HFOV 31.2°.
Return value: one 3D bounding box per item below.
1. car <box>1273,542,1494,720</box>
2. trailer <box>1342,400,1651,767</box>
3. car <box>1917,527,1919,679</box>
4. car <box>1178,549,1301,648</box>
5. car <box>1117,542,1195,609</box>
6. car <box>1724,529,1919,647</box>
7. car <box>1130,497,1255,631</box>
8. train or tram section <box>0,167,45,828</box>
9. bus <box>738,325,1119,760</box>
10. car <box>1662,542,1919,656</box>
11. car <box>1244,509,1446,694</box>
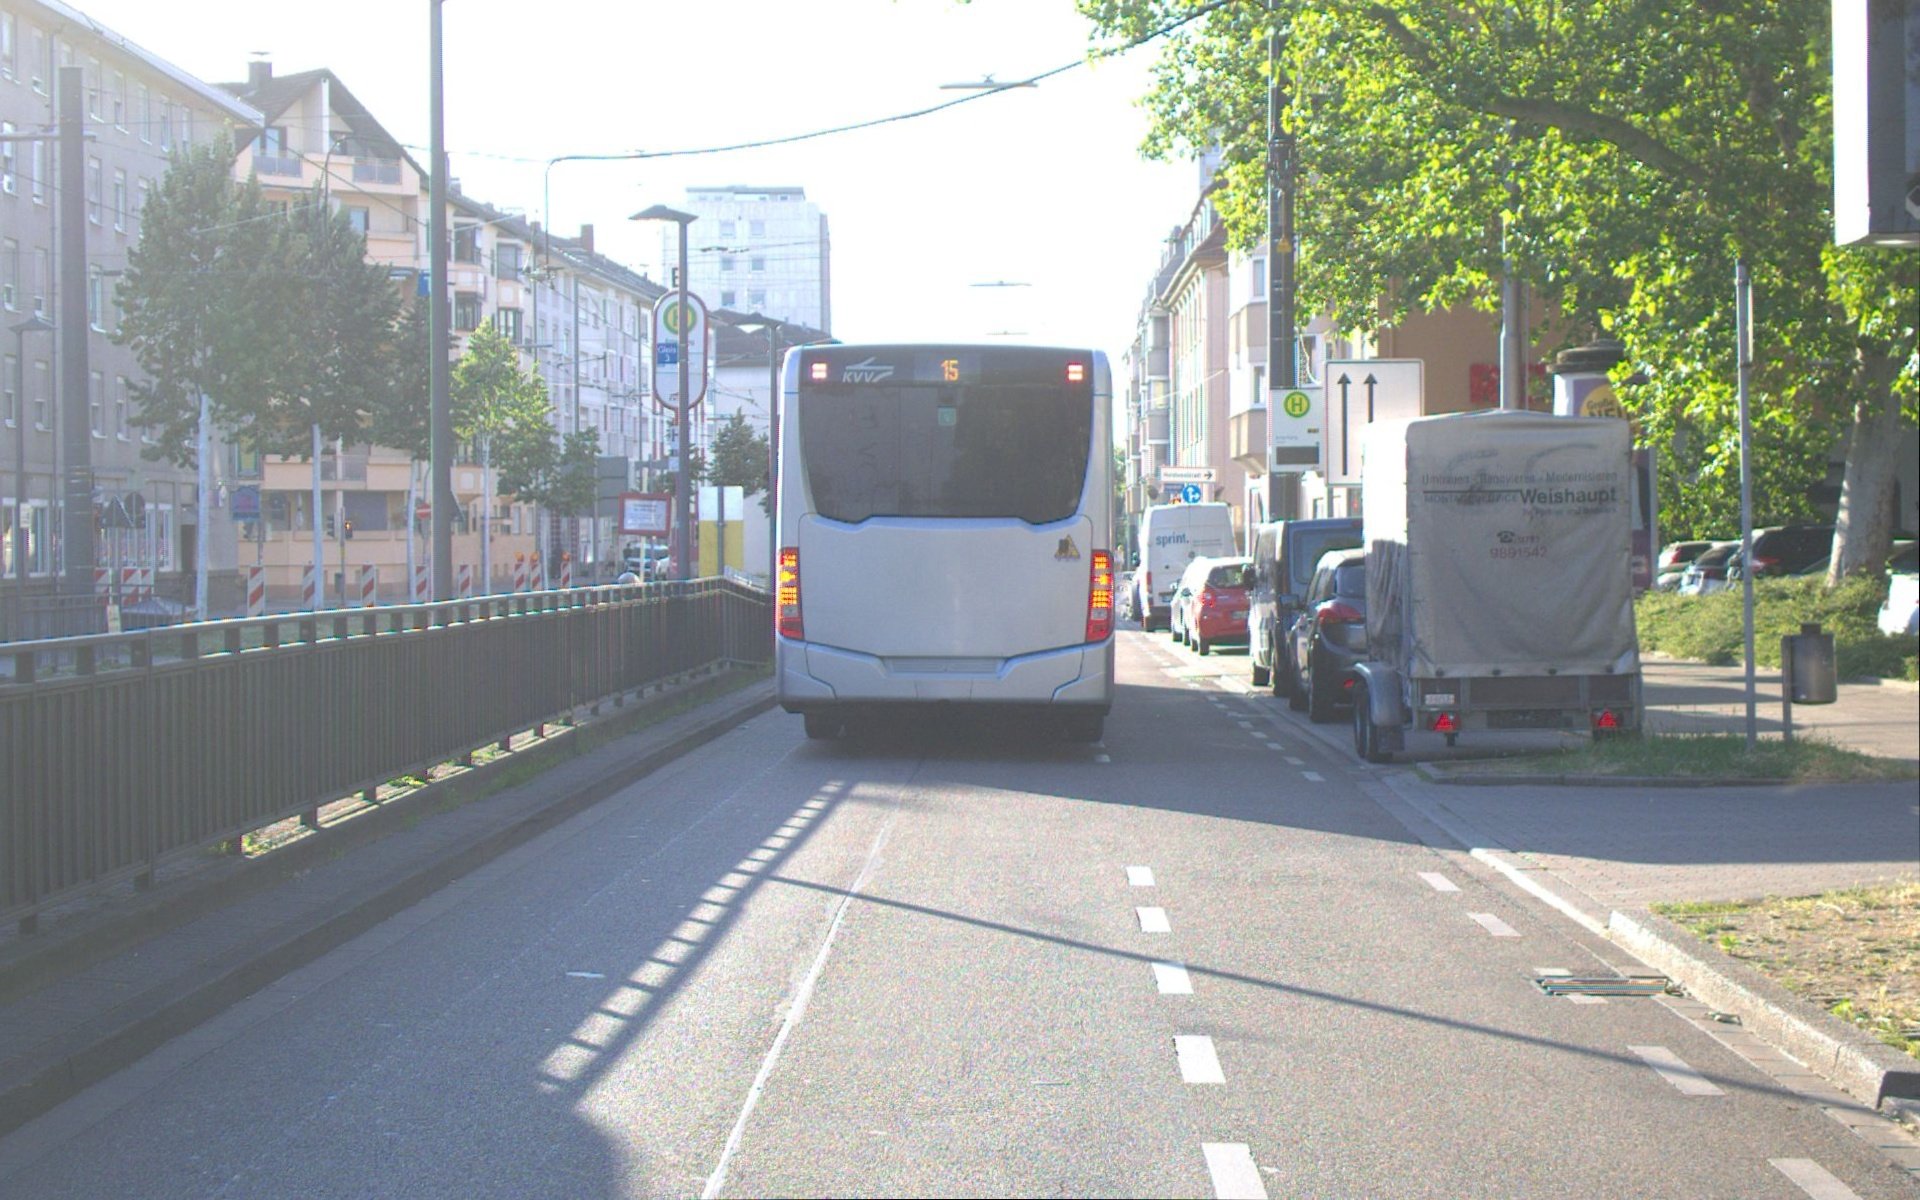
[{"bbox_3d":[3.990,0.259,32.887,1.701,1.583,3.827,-1,1,1],"label":"car"},{"bbox_3d":[3.954,-0.136,25.820,1.832,2.549,3.318,-1,1,1],"label":"trailer"},{"bbox_3d":[12.227,0.020,36.006,3.920,1.632,1.706,-1,0,1],"label":"car"},{"bbox_3d":[4.439,-0.046,54.975,1.671,1.458,3.933,-2,0,1],"label":"car"},{"bbox_3d":[4.689,-0.600,82.653,1.729,1.569,3.675,0,1,1],"label":"car"},{"bbox_3d":[12.704,-0.177,47.494,3.920,1.583,1.706,-1,0,1],"label":"car"},{"bbox_3d":[4.745,-0.738,70.908,2.282,2.618,5.309,-1,1,1],"label":"car"},{"bbox_3d":[-6.532,-0.446,12.374,2.640,3.507,13.333,0,1,1],"label":"train or tram section"},{"bbox_3d":[-0.097,-0.491,30.389,2.733,3.128,10.703,1,1,1],"label":"bus"},{"bbox_3d":[12.286,-0.020,49.741,3.920,1.583,1.706,-1,0,1],"label":"car"},{"bbox_3d":[4.295,-0.007,38.931,1.847,1.950,4.543,-1,1,1],"label":"car"}]
